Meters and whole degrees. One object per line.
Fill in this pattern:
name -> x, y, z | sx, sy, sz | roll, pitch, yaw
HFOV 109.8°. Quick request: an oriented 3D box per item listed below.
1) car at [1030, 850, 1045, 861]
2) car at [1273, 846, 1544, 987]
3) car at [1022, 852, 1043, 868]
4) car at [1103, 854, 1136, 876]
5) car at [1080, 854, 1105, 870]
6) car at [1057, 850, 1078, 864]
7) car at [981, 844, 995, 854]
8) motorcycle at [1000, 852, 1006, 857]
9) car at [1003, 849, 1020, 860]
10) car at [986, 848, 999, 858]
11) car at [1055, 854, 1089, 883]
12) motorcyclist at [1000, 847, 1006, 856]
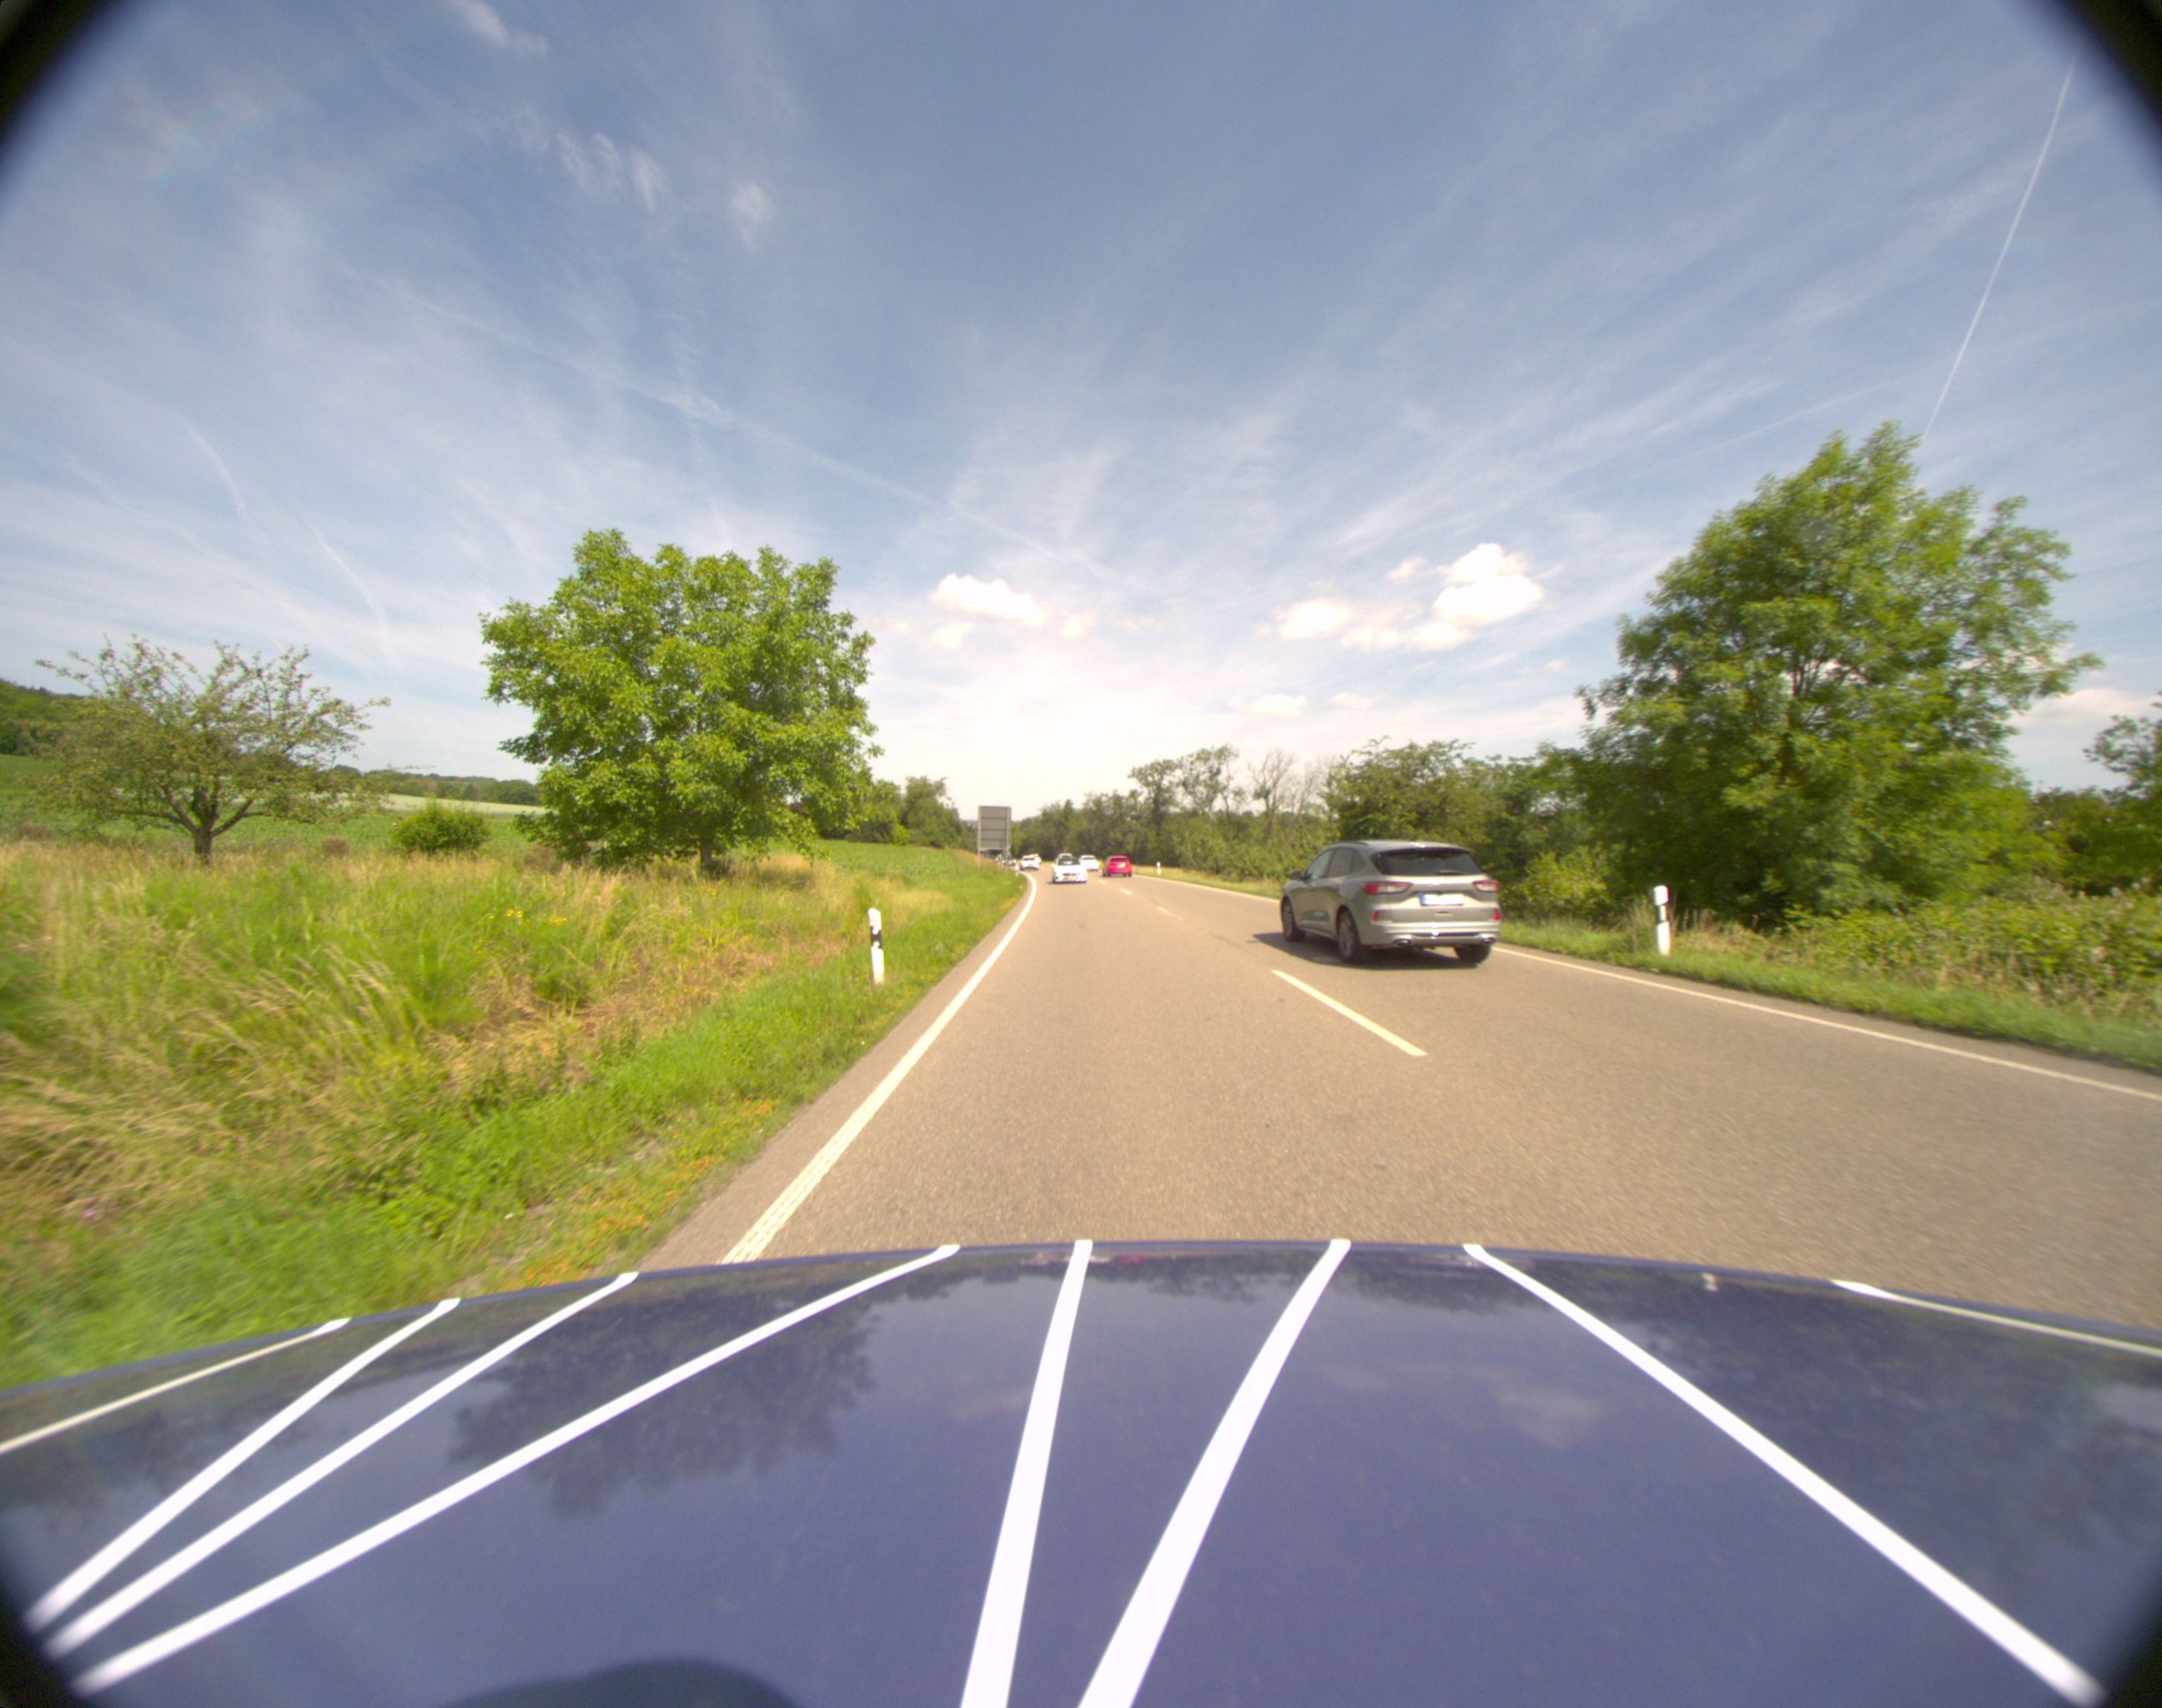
car -> -6.727, 0.199, 116.383 | 1.797, 1.513, 4.155 | 2, 1, -10
car -> 4.354, 0.709, 10.988 | 1.962, 1.596, 4.400 | -1, 0, -1
car -> -5.134, 0.638, 80.399 | 1.867, 1.480, 3.996 | -2, 2, -7
car -> 2.647, 0.744, 53.430 | 1.826, 1.390, 4.180 | 1, 0, -4
car -> 1.022, 0.724, 70.685 | 1.756, 1.406, 3.770 | 1, 0, -7
car -> -1.571, 0.345, 88.005 | 1.839, 1.607, 4.358 | 1, 0, -9
car -> -20.583, -1.118, 167.812 | 2.179, 2.290, 4.898 | 0, 1, -17
motorcycle -> -15.247, 0.044, 148.968 | 0.760, 0.988, 2.276 | 1, 0, -14
car -> -9.912, 0.108, 108.156 | 1.827, 1.510, 3.994 | 1, 0, -15
car -> -15.144, -0.156, 129.946 | 1.668, 1.641, 3.994 | 1, 0, -16
car -> -0.570, 0.800, 43.378 | 1.773, 1.437, 3.998 | -2, 1, -3
motorcyclist -> -15.288, -0.431, 149.097 | 0.922, 1.708, 0.961 | -1, 1, -12
